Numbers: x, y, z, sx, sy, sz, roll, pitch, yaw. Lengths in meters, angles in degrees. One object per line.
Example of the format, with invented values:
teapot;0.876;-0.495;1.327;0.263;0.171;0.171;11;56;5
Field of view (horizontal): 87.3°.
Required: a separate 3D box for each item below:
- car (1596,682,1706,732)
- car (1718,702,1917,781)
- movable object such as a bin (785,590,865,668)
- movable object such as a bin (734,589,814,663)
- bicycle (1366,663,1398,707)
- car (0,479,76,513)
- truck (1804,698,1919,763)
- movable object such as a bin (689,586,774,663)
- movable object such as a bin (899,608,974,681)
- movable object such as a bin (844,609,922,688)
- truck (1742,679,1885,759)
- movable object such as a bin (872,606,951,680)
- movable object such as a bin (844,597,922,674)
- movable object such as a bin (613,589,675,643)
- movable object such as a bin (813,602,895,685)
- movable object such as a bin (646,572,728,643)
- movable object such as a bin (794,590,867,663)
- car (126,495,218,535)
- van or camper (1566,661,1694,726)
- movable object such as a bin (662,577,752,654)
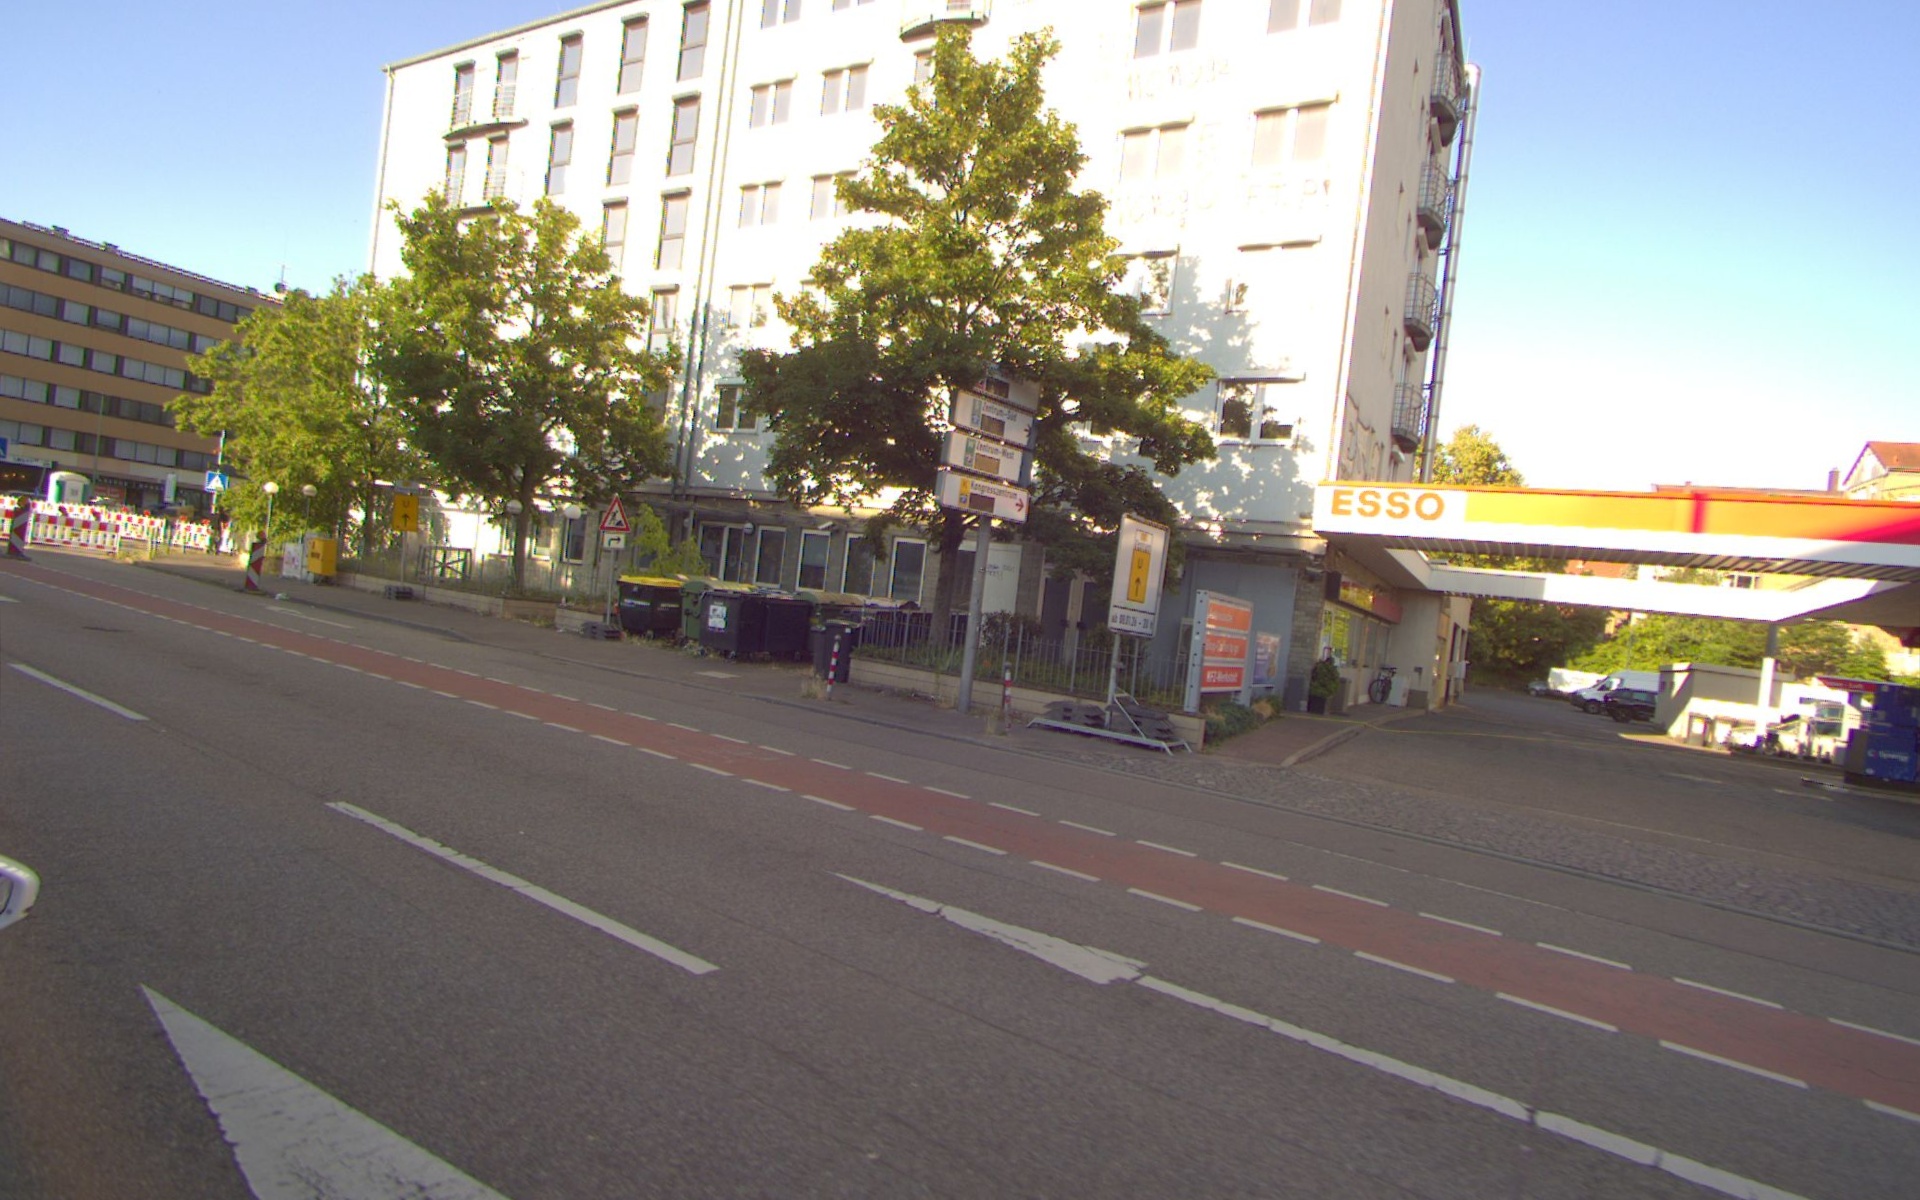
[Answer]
car;31.505;4.879;45.998;3.830;1.628;1.685;7;-1;29
car;24.130;3.949;28.544;3.935;1.482;1.995;7;0;33
movable object such as a bin;-2.834;0.618;21.184;1.142;1.467;1.033;7;1;30
movable object such as a bin;-3.792;0.541;20.512;1.142;1.345;0.955;7;1;30
bicycle;11.638;2.340;27.712;0.417;1.117;1.967;7;0;31
car;-55.889;-6.282;60.221;1.756;1.437;3.996;7;0;26
truck;33.591;4.792;37.054;3.434;1.852;1.778;7;0;32
movable object such as a bin;-4.448;0.487;19.592;1.142;1.345;0.955;7;1;30
movable object such as a bin;-0.473;0.921;20.632;1.079;1.345;0.955;7;1;30
movable object such as a bin;-1.437;0.912;18.798;0.938;1.345;0.955;7;1;30
truck;34.760;4.790;41.127;3.933;2.591;1.996;7;0;31
movable object such as a bin;-0.957;0.855;19.763;1.079;1.299;0.955;7;0;30
movable object such as a bin;-1.668;0.779;21.851;1.142;1.517;1.033;7;1;30
movable object such as a bin;-6.852;0.351;21.832;0.805;1.058;0.852;7;0;28
movable object such as a bin;-1.889;0.783;17.931;0.938;1.345;0.955;7;1;30
movable object such as a bin;-6.355;0.181;23.449;1.087;1.479;1.350;7;0;28
movable object such as a bin;-2.972;0.609;23.122;1.142;1.517;1.033;7;1;30
car;-50.980;-5.490;65.155;1.967;1.839;4.219;7;0;33
van or camper;36.161;4.991;54.495;5.249;2.722;2.206;7;1;26
movable object such as a bin;-5.324;0.341;21.214;1.087;1.441;1.350;7;0;28
